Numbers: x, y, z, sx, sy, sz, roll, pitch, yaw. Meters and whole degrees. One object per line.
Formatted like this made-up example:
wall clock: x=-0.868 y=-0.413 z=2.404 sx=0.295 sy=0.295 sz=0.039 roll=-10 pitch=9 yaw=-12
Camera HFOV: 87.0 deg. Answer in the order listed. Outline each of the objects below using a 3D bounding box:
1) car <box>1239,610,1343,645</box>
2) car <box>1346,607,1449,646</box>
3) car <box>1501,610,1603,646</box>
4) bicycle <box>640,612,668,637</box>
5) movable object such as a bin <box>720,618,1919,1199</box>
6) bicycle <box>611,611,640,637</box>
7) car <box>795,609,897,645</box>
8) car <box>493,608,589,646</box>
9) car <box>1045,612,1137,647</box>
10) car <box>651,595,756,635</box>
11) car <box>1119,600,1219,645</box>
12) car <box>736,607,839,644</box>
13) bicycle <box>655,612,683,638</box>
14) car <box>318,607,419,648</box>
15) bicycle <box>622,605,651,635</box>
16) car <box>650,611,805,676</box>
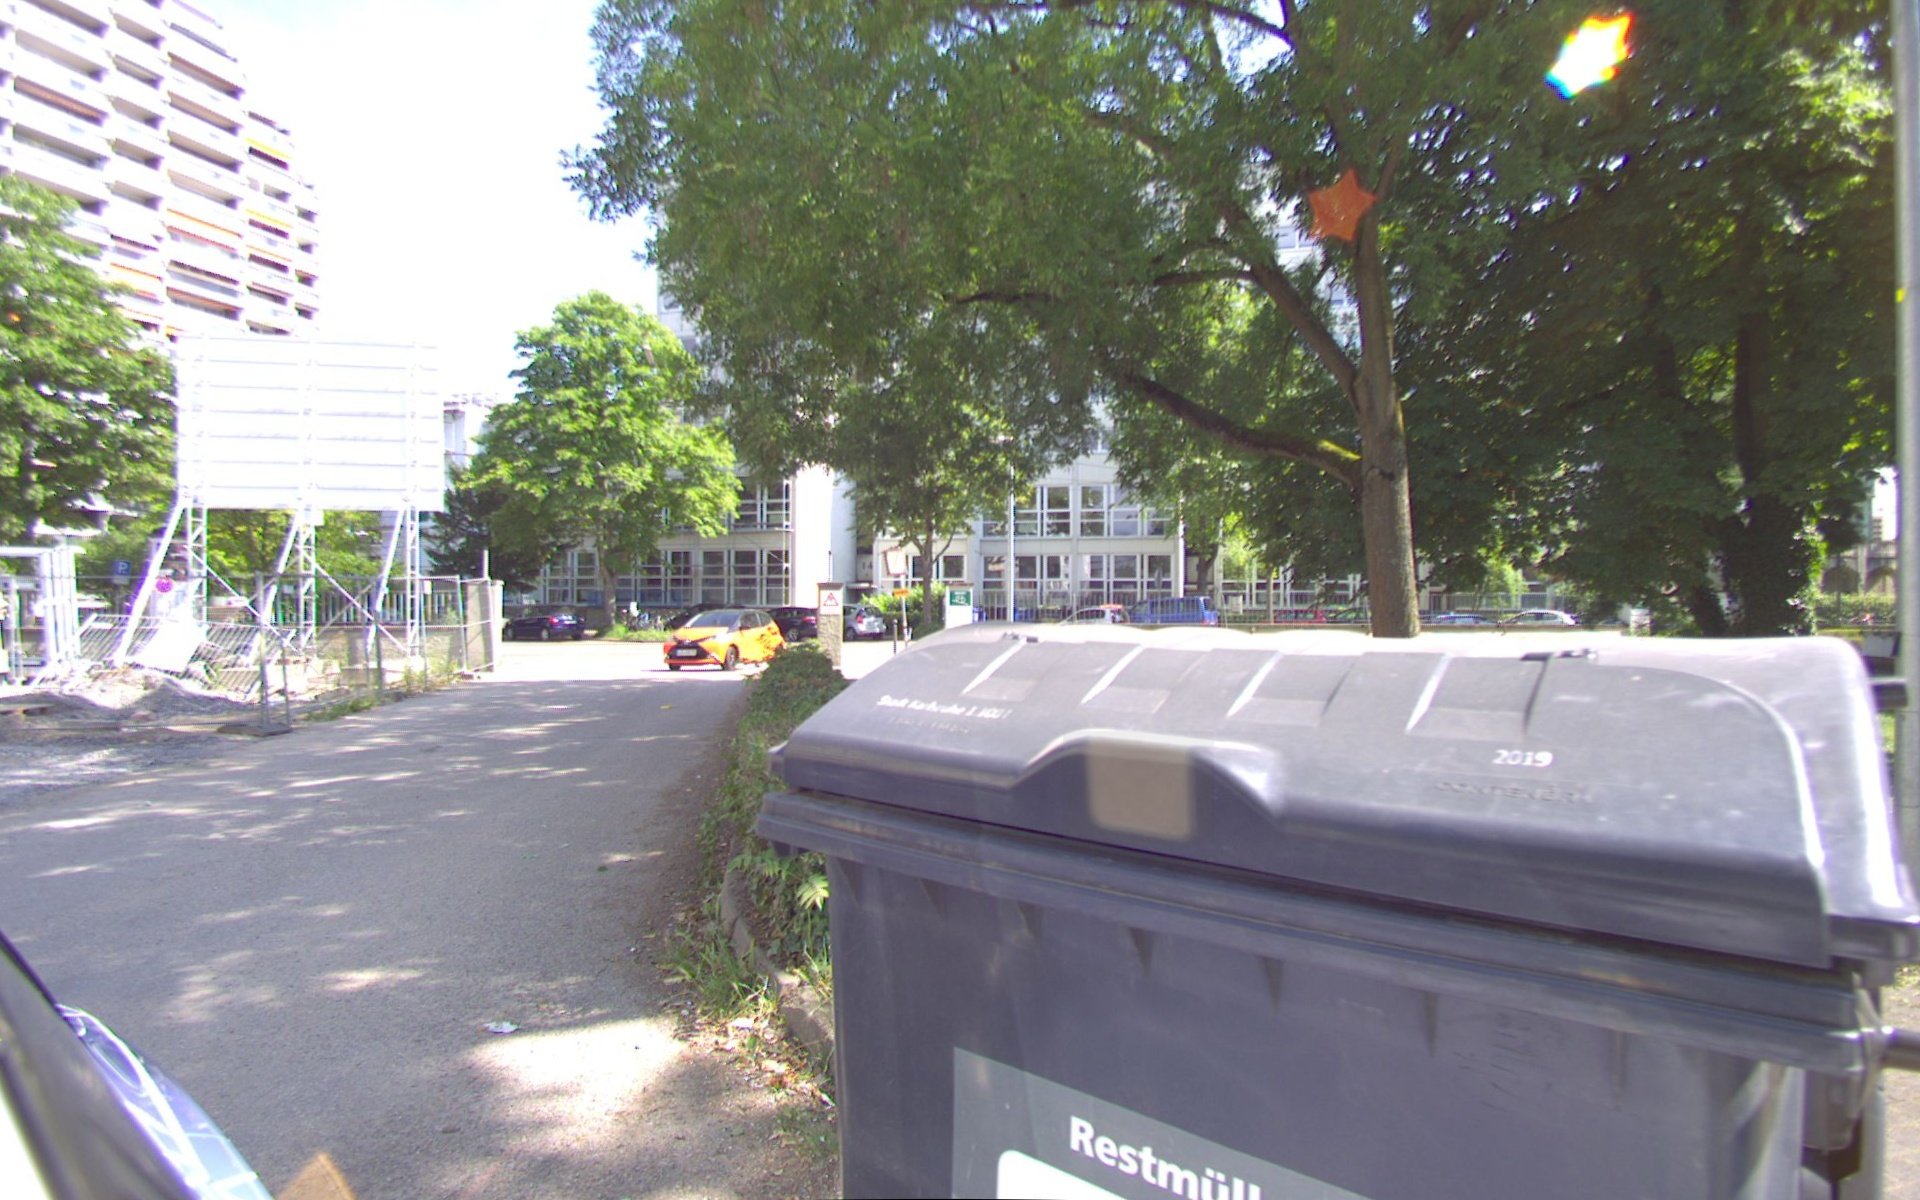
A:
car: x=15.119 y=1.259 z=46.253 sx=4.209 sy=1.550 sz=1.762 roll=-1 pitch=-2 yaw=35
car: x=19.693 y=1.203 z=45.629 sx=3.990 sy=1.652 sz=1.783 roll=-1 pitch=-2 yaw=35
car: x=28.349 y=1.325 z=48.493 sx=3.995 sy=1.674 sz=1.806 roll=-1 pitch=-1 yaw=38
bicycle: x=-14.629 y=1.162 z=48.455 sx=0.484 sy=1.209 sz=2.011 roll=0 pitch=-1 yaw=9
movable object such as a bin: x=0.604 y=0.737 z=1.424 sx=1.401 sy=1.407 sz=1.233 roll=0 pitch=-1 yaw=36
bicycle: x=-16.121 y=1.140 z=48.782 sx=0.484 sy=1.209 sz=2.011 roll=0 pitch=-1 yaw=9
car: x=-4.945 y=1.137 z=43.756 sx=4.330 sy=1.497 sz=1.781 roll=-1 pitch=-1 yaw=35
car: x=-16.942 y=1.066 z=40.886 sx=3.988 sy=1.463 sz=1.636 roll=-1 pitch=-1 yaw=33
car: x=5.739 y=1.272 z=44.693 sx=1.684 sy=1.474 sz=3.853 roll=1 pitch=-1 yaw=-44
car: x=-10.749 y=0.632 z=42.347 sx=4.378 sy=1.577 sz=1.788 roll=-1 pitch=-1 yaw=33
car: x=9.242 y=0.998 z=44.854 sx=3.990 sy=1.921 sz=1.766 roll=-1 pitch=-2 yaw=35
car: x=-7.263 y=1.043 z=42.558 sx=4.171 sy=1.487 sz=1.782 roll=-1 pitch=-1 yaw=32
bicycle: x=-13.925 y=1.187 z=48.405 sx=0.484 sy=1.209 sz=2.011 roll=0 pitch=-1 yaw=9
car: x=-23.224 y=1.043 z=39.713 sx=4.137 sy=1.421 sz=1.822 roll=1 pitch=2 yaw=34
bicycle: x=-15.574 y=0.954 z=48.758 sx=0.484 sy=1.389 sz=2.011 roll=0 pitch=-1 yaw=9
car: x=-5.450 y=1.014 z=24.306 sx=1.650 sy=1.423 sz=4.147 roll=-1 pitch=-2 yaw=20
